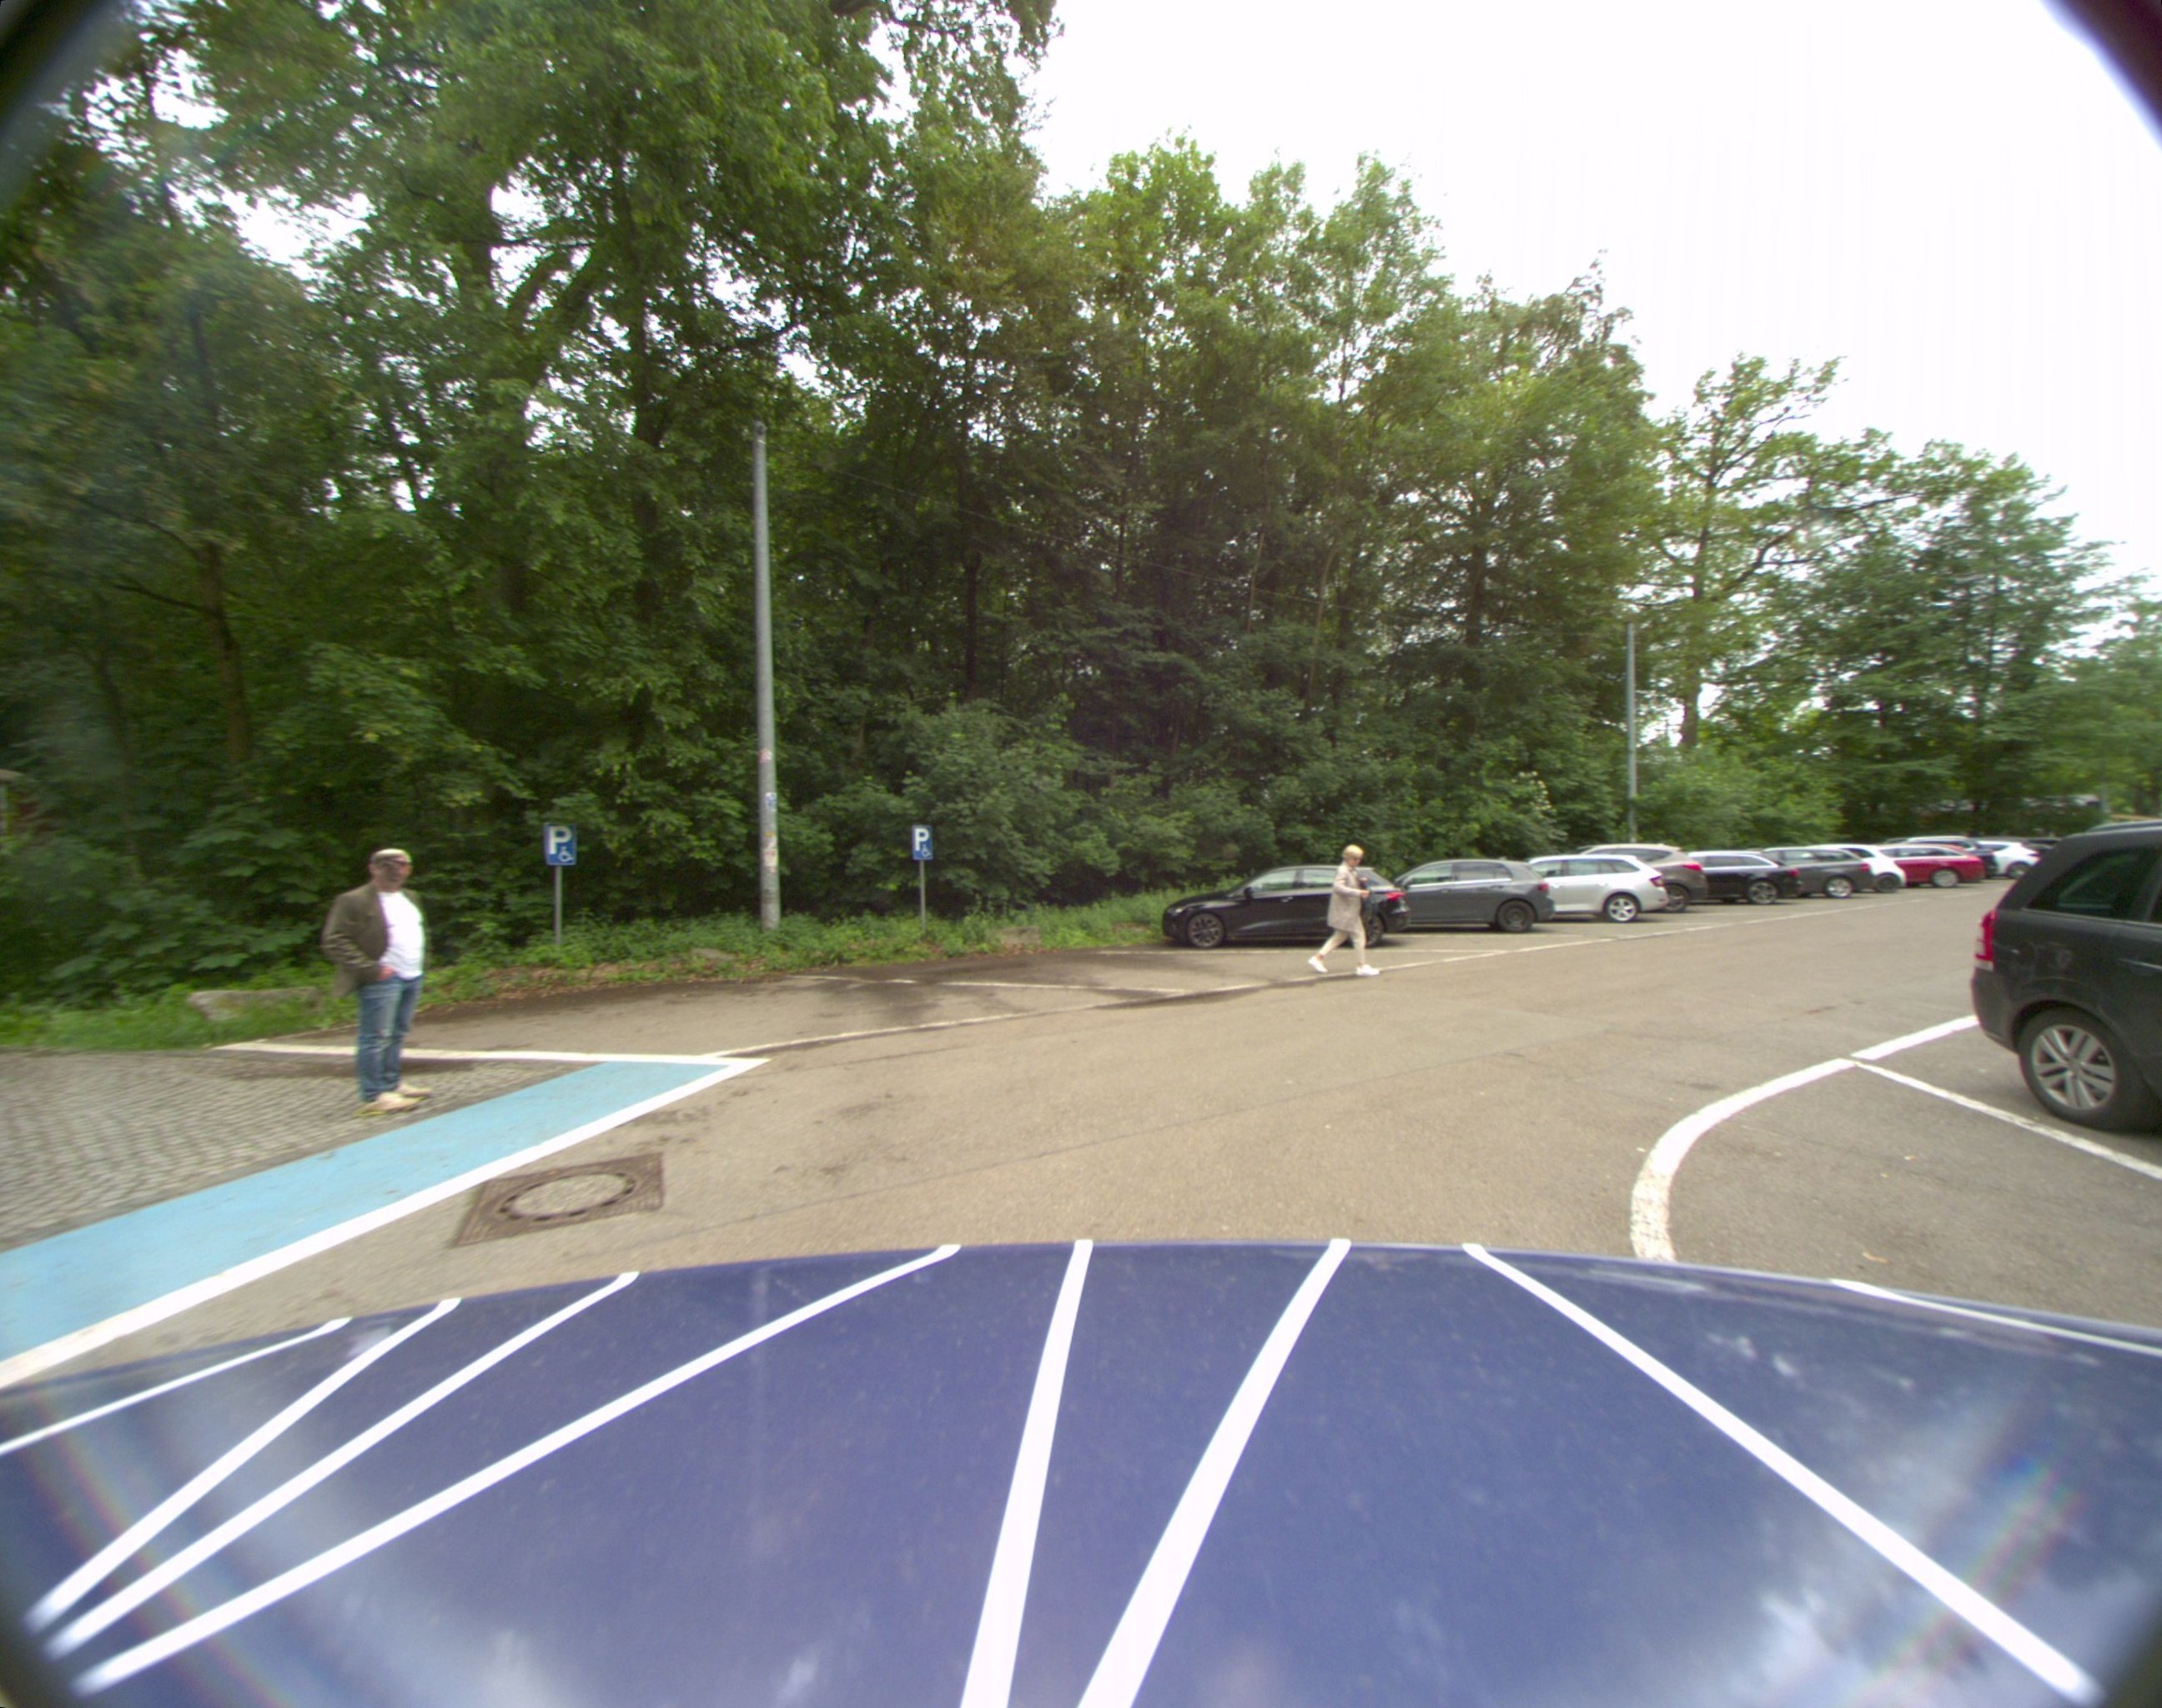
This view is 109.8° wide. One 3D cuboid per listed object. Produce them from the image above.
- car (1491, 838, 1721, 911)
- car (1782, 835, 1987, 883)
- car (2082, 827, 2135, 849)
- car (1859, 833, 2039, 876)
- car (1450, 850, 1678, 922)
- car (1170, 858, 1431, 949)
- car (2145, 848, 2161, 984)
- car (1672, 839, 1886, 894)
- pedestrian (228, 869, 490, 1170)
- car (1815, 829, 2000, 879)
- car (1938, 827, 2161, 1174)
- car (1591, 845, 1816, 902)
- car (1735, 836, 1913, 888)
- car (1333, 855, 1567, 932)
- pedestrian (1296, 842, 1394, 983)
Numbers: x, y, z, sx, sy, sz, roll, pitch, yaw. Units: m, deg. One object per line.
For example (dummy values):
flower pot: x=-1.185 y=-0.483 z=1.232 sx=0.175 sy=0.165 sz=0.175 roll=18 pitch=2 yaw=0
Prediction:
car: x=12.736 y=0.496 z=18.784 sx=4.254 sy=1.627 sz=1.968 roll=-2 pitch=0 yaw=17
car: x=26.691 y=0.179 z=25.458 sx=4.287 sy=1.405 sz=1.931 roll=-2 pitch=0 yaw=21
car: x=77.795 y=-1.232 z=57.555 sx=4.008 sy=1.543 sz=1.994 roll=-2 pitch=0 yaw=-42
car: x=32.986 y=0.034 z=29.044 sx=4.111 sy=1.430 sz=1.872 roll=-2 pitch=0 yaw=20
car: x=10.502 y=0.685 z=16.899 sx=3.991 sy=1.458 sz=1.838 roll=-1 pitch=0 yaw=21
car: x=3.881 y=0.860 z=13.723 sx=4.196 sy=1.453 sz=1.902 roll=-2 pitch=0 yaw=17
car: x=11.766 y=0.640 z=6.094 sx=1.769 sy=1.435 sz=3.851 roll=-2 pitch=0 yaw=17
car: x=20.021 y=0.374 z=22.018 sx=4.178 sy=1.449 sz=1.807 roll=-2 pitch=0 yaw=17
pedestrian: x=-4.530 y=0.966 z=4.849 sx=0.897 sy=1.715 sz=0.763 roll=-2 pitch=0 yaw=-10
car: x=29.649 y=0.025 z=27.444 sx=4.111 sy=1.608 sz=1.845 roll=-2 pitch=0 yaw=20
car: x=5.587 y=0.654 z=2.320 sx=1.826 sy=1.599 sz=4.393 roll=-2 pitch=0 yaw=15
car: x=16.542 y=0.527 z=20.460 sx=4.255 sy=1.369 sz=1.968 roll=-2 pitch=0 yaw=15
car: x=23.109 y=0.259 z=23.787 sx=3.575 sy=1.496 sz=1.737 roll=-2 pitch=0 yaw=19
car: x=7.262 y=0.780 z=15.436 sx=3.992 sy=1.414 sz=1.912 roll=-2 pitch=0 yaw=16
pedestrian: x=3.433 y=0.725 z=9.900 sx=0.898 sy=1.715 sz=0.763 roll=-2 pitch=0 yaw=-27
